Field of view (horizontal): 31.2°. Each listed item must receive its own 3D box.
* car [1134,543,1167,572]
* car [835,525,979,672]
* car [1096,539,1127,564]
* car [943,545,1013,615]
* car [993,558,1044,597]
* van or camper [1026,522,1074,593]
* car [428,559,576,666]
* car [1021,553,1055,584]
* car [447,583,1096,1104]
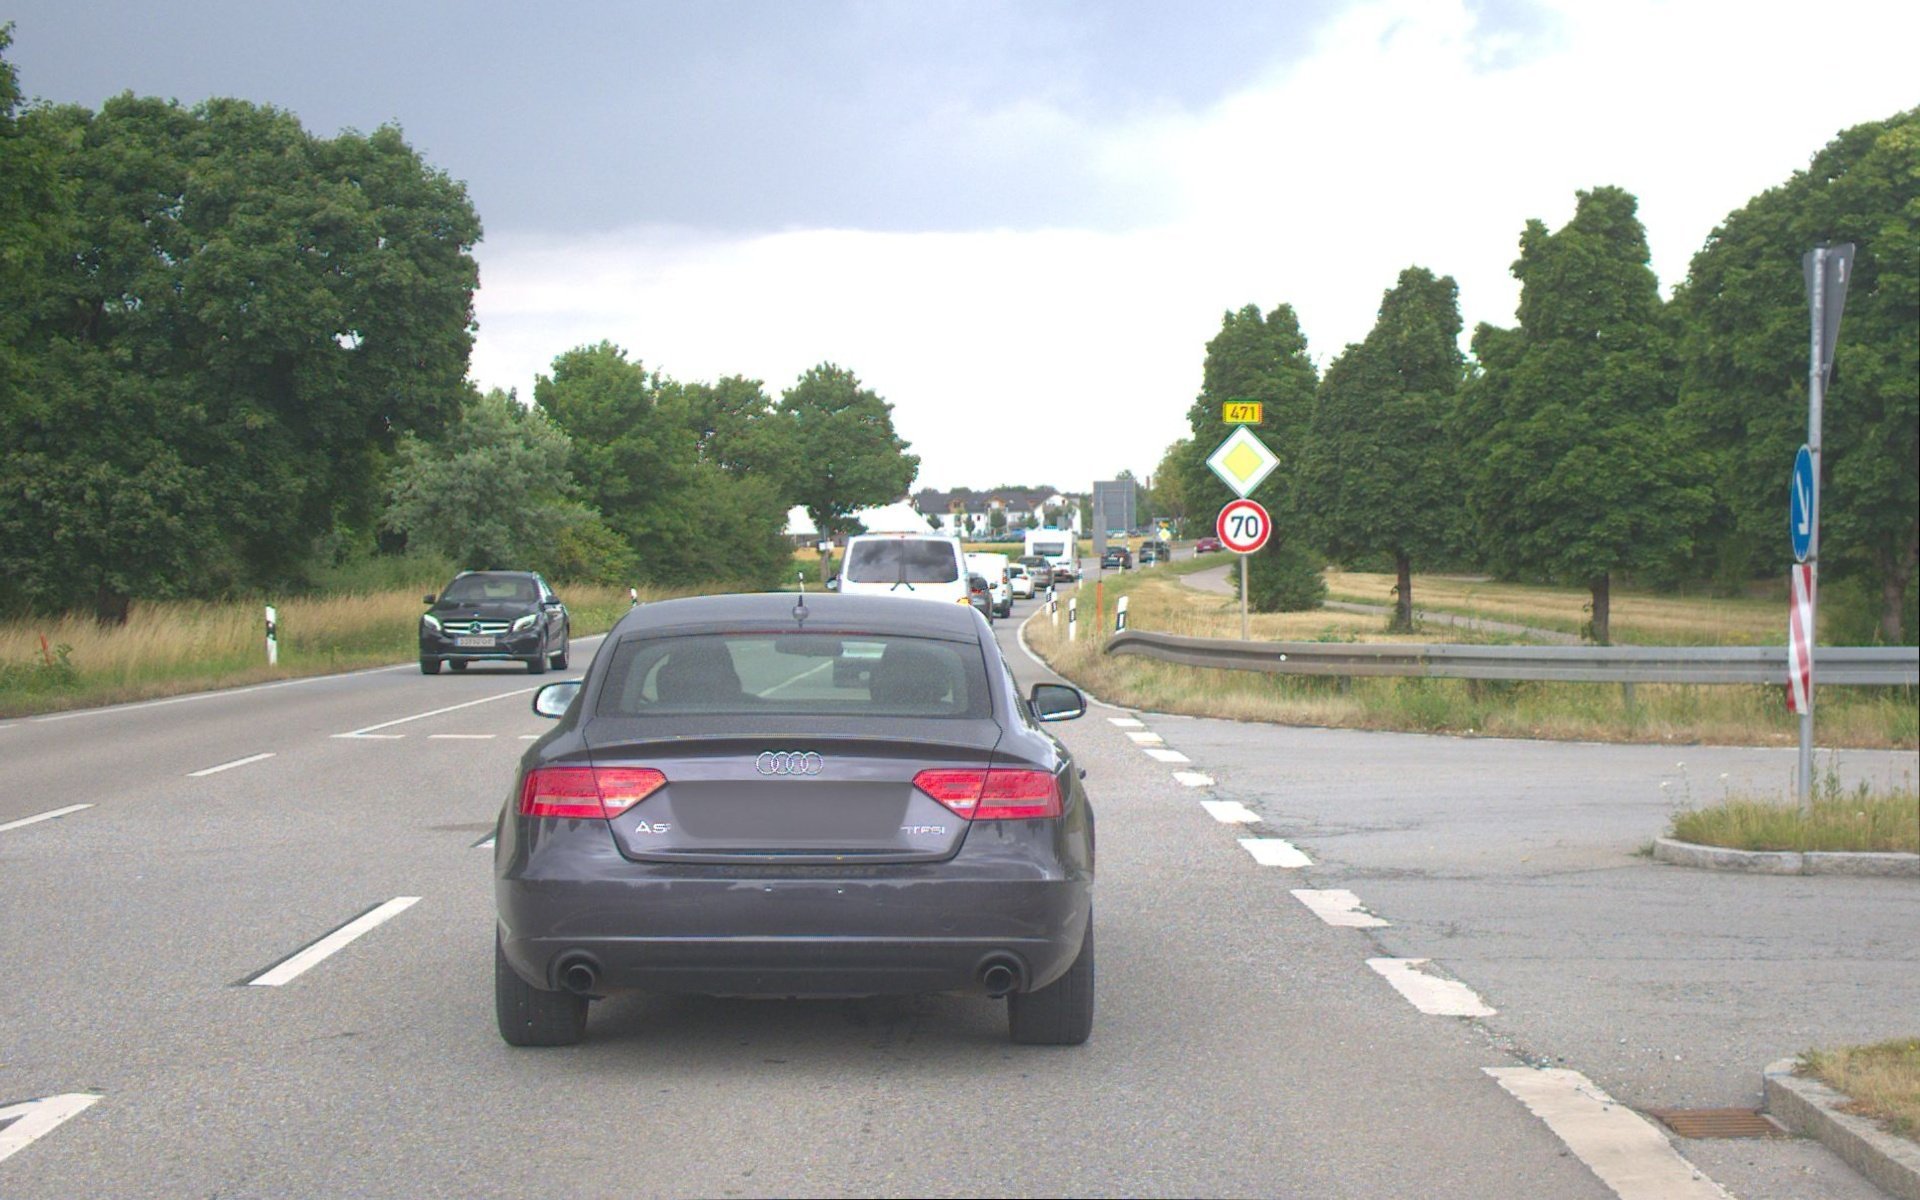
[{"bbox_3d":[13.153,-2.912,237.137,1.993,2.007,4.000,0,1,-1],"label":"car"},{"bbox_3d":[-0.712,-0.055,46.429,1.838,1.876,4.000,1,1,-1],"label":"car"},{"bbox_3d":[9.270,-2.979,210.940,1.719,1.446,4.000,1,1,0],"label":"car"},{"bbox_3d":[0.564,-0.624,105.364,1.993,2.081,4.000,0,1,2],"label":"car"},{"bbox_3d":[2.338,-0.913,137.192,1.736,1.509,3.746,0,1,5],"label":"car"},{"bbox_3d":[4.469,-2.120,170.659,2.340,3.469,5.718,0,1,1],"label":"van or camper"},{"bbox_3d":[-6.785,0.156,51.241,1.711,1.517,4.000,0,1,-1],"label":"car"},{"bbox_3d":[3.467,-1.385,152.261,1.258,1.349,3.465,0,1,5],"label":"car"},{"bbox_3d":[-0.547,0.665,11.514,1.783,1.372,4.000,1,1,-1],"label":"car"}]
